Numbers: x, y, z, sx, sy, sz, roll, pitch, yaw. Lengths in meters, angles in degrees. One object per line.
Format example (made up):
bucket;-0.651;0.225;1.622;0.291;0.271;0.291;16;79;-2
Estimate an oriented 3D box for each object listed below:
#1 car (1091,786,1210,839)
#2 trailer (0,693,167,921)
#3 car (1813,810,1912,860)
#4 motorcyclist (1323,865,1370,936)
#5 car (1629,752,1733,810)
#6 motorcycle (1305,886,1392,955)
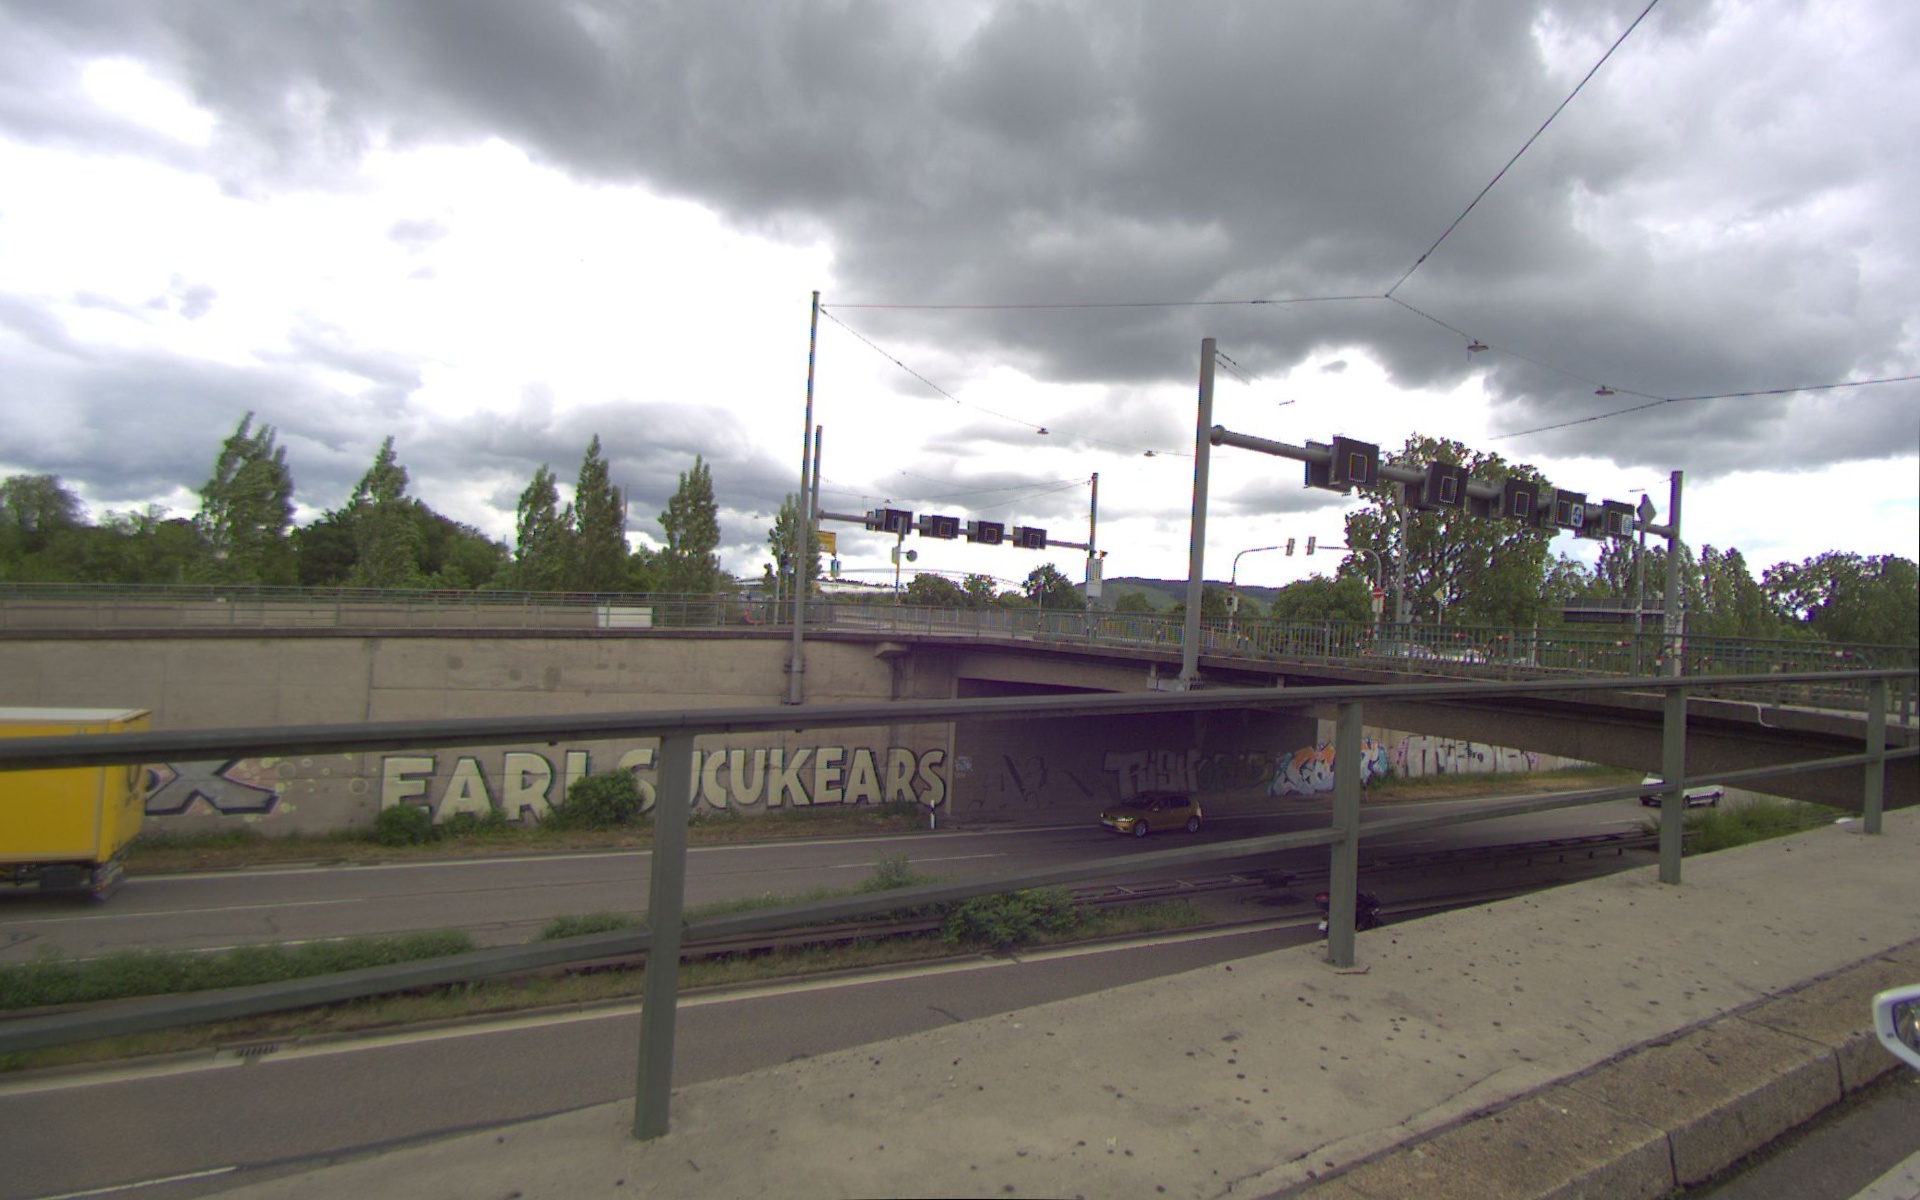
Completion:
car;7.109;7.878;37.421;4.106;1.476;1.859;4;-3;-30
trailer;-24.191;3.946;19.200;13.516;4.317;3.227;5;-3;-29
car;35.855;9.279;39.892;4.363;1.440;1.611;4;-3;-29
motorcyclist;8.748;6.788;22.749;0.753;1.389;0.591;4;-1;-29
car;38.275;9.525;53.284;6.032;2.628;2.157;5;-3;-30
motorcycle;8.822;7.243;22.794;2.101;1.219;0.591;4;-2;-29
